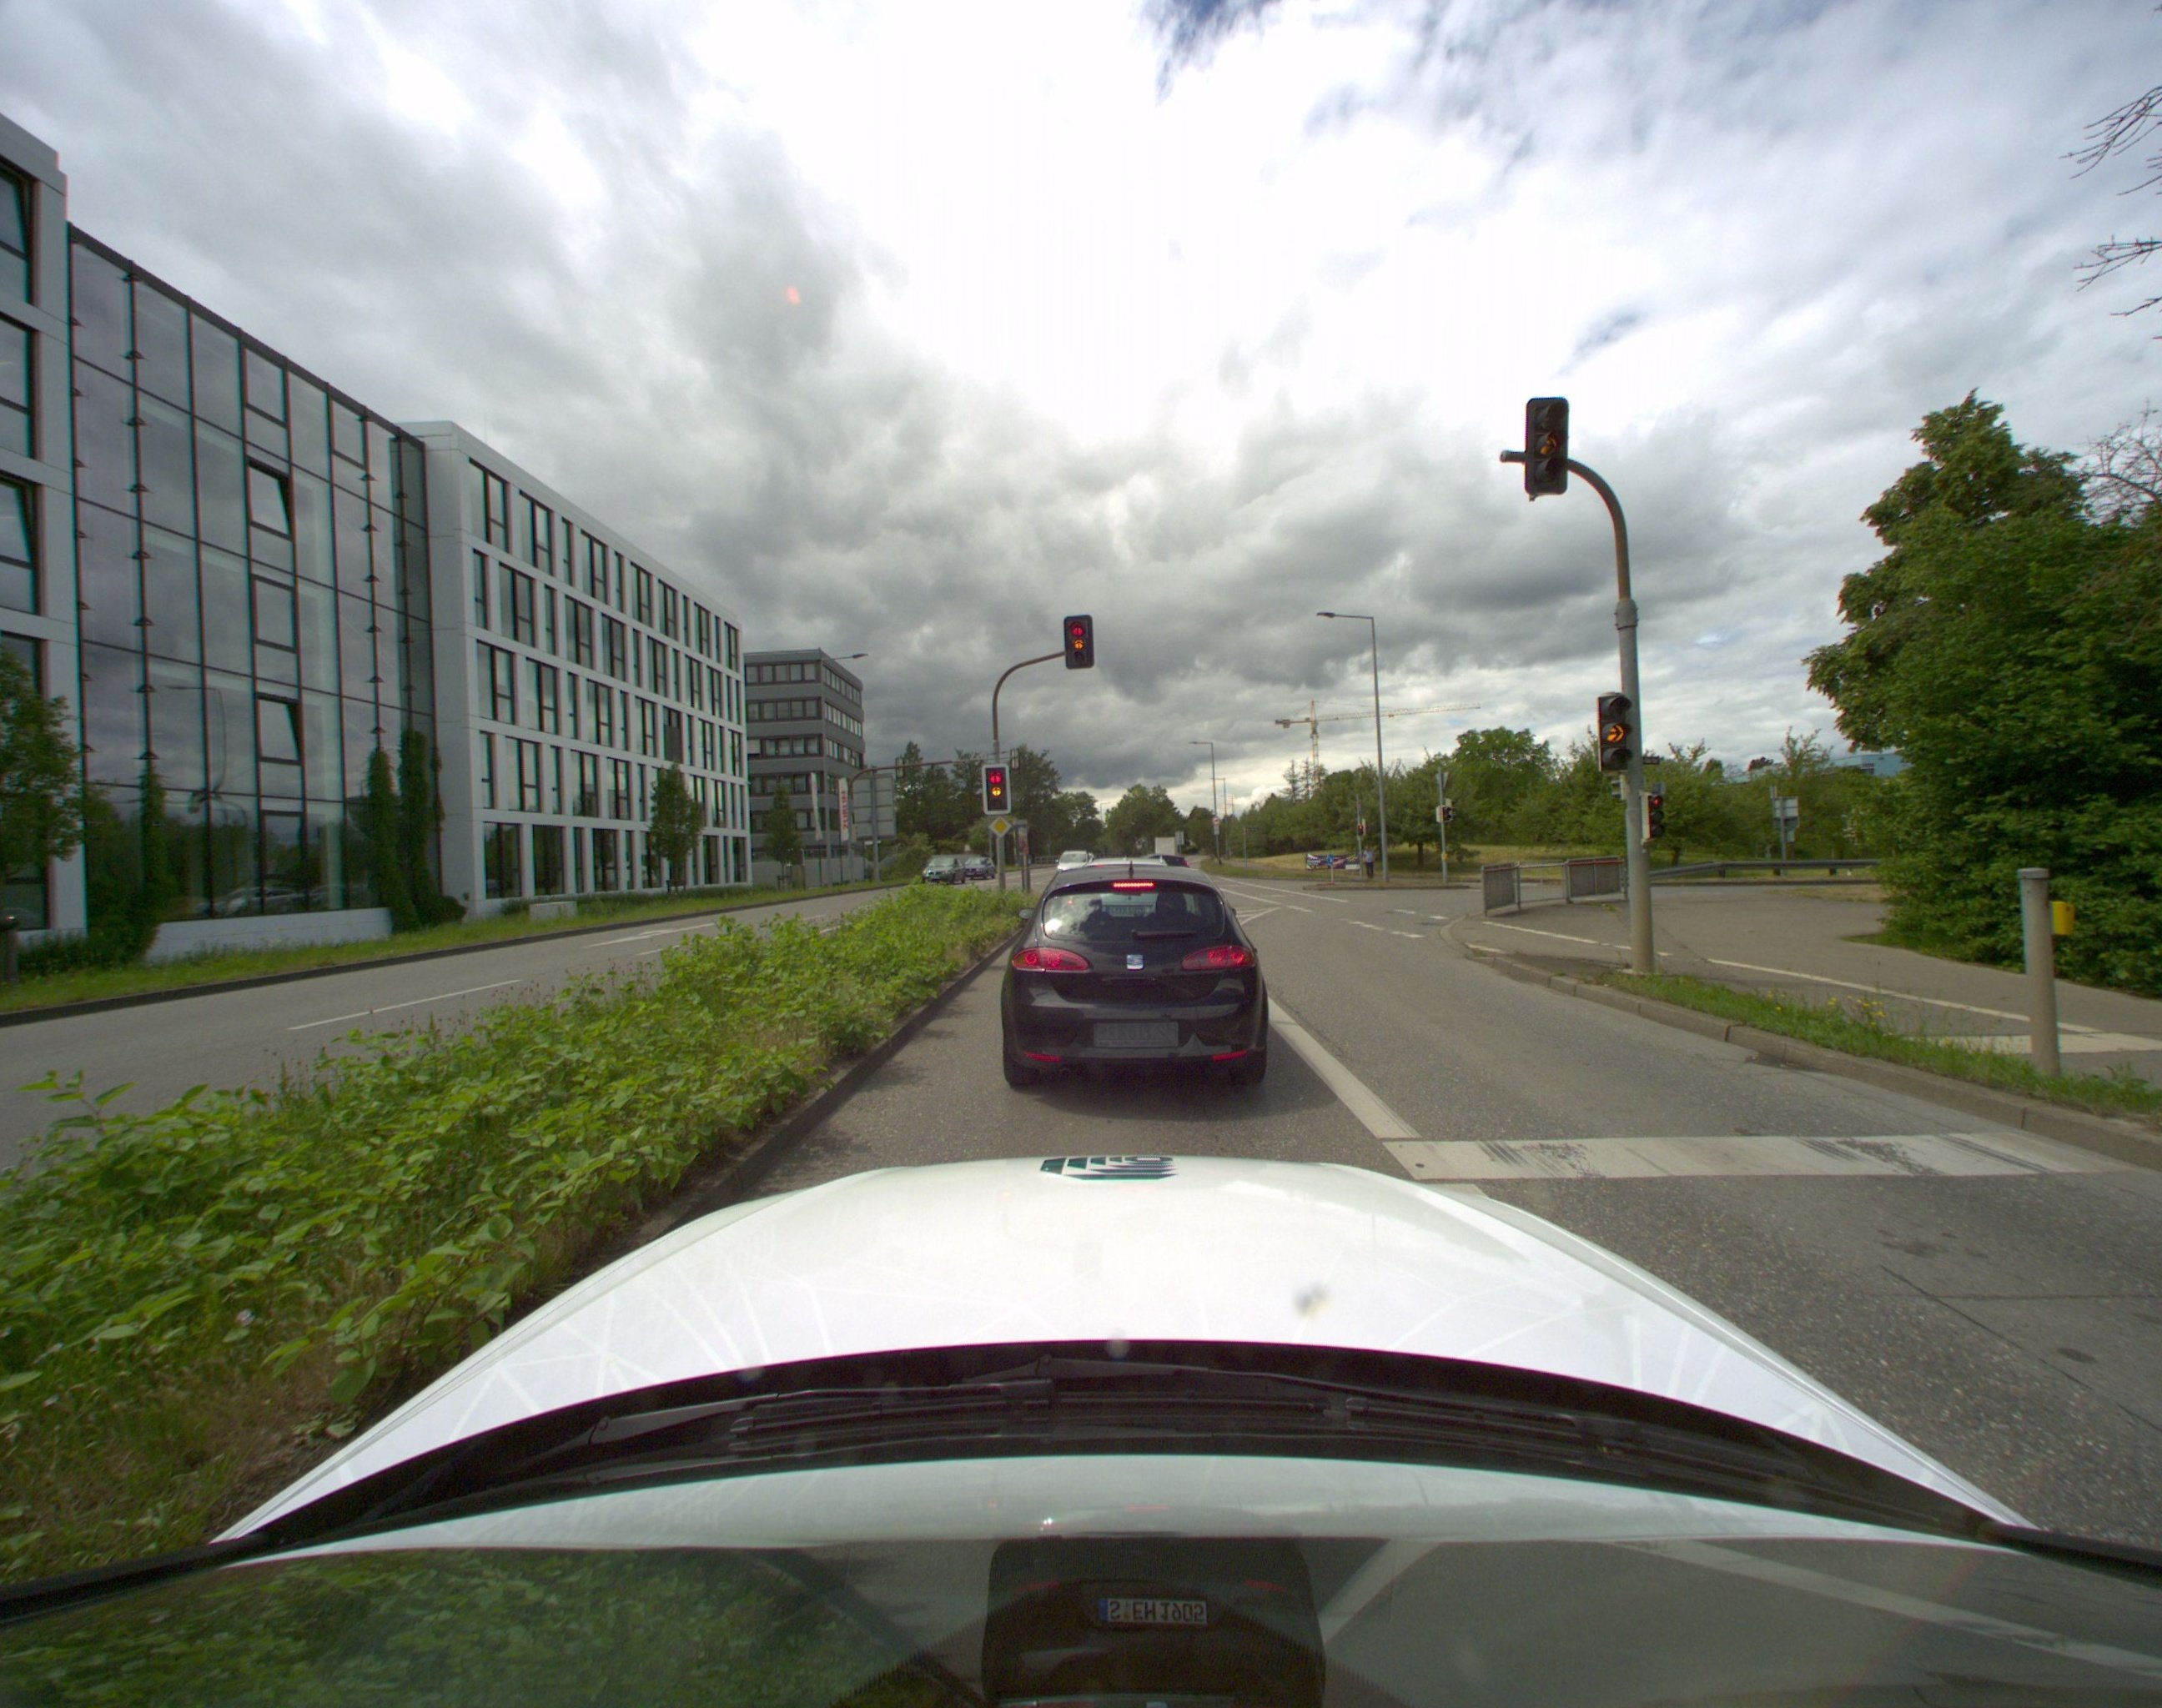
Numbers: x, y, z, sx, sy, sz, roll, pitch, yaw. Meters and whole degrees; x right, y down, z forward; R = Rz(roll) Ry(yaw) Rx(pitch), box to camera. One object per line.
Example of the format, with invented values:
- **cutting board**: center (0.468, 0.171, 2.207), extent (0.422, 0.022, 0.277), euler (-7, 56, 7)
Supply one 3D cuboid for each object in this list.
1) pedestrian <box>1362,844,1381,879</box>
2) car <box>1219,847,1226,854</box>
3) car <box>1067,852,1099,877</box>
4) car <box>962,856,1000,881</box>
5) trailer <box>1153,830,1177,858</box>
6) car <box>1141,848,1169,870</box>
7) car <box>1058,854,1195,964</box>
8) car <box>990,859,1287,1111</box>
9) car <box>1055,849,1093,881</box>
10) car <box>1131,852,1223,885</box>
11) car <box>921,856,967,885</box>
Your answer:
- **pedestrian**: center (15.138, 0.392, 42.472), extent (0.714, 1.793, 1.045), euler (0, -1, 5)
- **car**: center (33.436, -0.857, 192.446), extent (1.656, 1.596, 4.013), euler (-1, -1, 12)
- **car**: center (0.187, 0.645, 52.438), extent (1.652, 1.518, 4.091), euler (-1, 0, 6)
- **car**: center (-6.291, 0.903, 51.621), extent (1.546, 1.419, 3.902), euler (-1, 0, 5)
- **trailer**: center (9.896, -1.102, 95.056), extent (2.477, 3.073, 5.600), euler (-1, -1, 9)
- **car**: center (5.634, 0.374, 61.475), extent (1.984, 1.565, 4.478), euler (-2, 0, 5)
- **car**: center (0.711, 0.754, 12.802), extent (1.827, 1.467, 3.754), euler (0, 0, 3)
- **car**: center (0.391, 0.771, 6.457), extent (1.704, 1.417, 3.461), euler (-1, 0, 2)
- **car**: center (-0.361, 0.597, 46.369), extent (1.812, 1.686, 4.650), euler (0, 0, 4)
- **car**: center (4.449, 0.664, 37.819), extent (3.885, 1.446, 1.751), euler (0, -1, -15)
- **car**: center (-7.311, 0.849, 43.776), extent (1.598, 1.432, 3.757), euler (-1, 0, 4)
